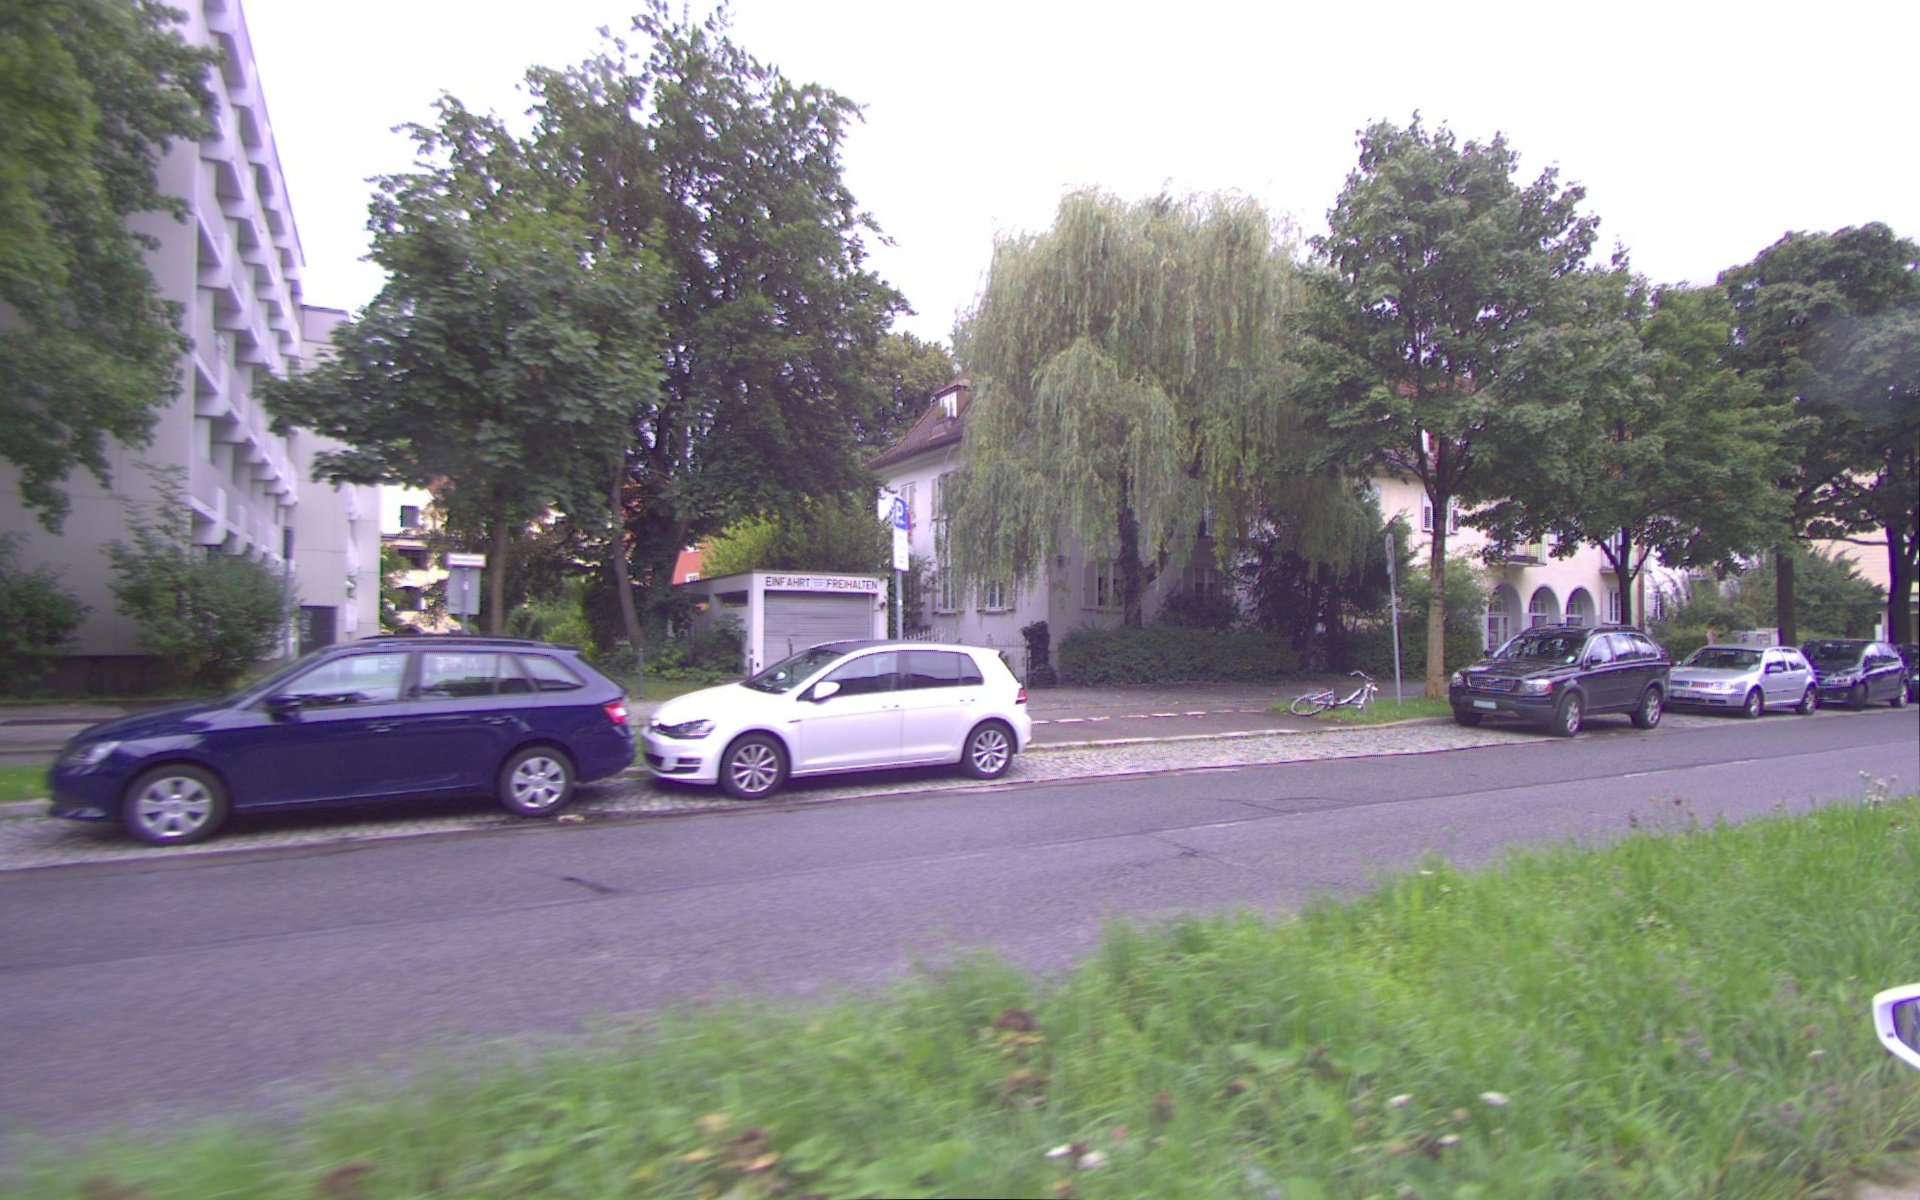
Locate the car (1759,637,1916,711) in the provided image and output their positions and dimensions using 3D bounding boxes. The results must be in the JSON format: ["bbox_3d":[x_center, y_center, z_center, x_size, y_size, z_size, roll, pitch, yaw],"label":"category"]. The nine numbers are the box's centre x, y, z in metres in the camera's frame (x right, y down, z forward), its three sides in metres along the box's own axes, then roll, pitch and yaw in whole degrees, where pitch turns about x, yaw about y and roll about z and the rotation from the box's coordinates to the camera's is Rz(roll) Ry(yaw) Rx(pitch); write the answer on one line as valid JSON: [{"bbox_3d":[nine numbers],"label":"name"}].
[{"bbox_3d":[20.635,1.674,23.587,4.252,1.583,1.657,2,-2,-33],"label":"car"}]

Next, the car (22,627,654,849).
[{"bbox_3d":[-4.923,0.999,8.562,4.165,1.494,1.667,1,-2,-30],"label":"car"}]

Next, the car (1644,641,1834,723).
[{"bbox_3d":[16.399,1.656,21.106,4.324,1.464,1.658,1,1,-31],"label":"car"}]

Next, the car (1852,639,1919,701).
[{"bbox_3d":[25.369,1.800,26.488,3.790,1.469,1.557,1,1,-29],"label":"car"}]

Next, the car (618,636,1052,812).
[{"bbox_3d":[-1.261,1.168,10.701,4.268,1.462,1.666,1,1,-30],"label":"car"}]

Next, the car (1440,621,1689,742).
[{"bbox_3d":[10.675,1.318,17.611,5.006,1.787,1.785,1,1,-34],"label":"car"}]

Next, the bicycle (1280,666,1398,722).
[{"bbox_3d":[6.786,1.667,18.033,1.387,0.840,1.445,1,0,-30],"label":"bicycle"}]

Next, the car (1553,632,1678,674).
[{"bbox_3d":[24.731,1.966,37.978,1.653,1.481,3.614,1,-2,-32],"label":"car"}]
